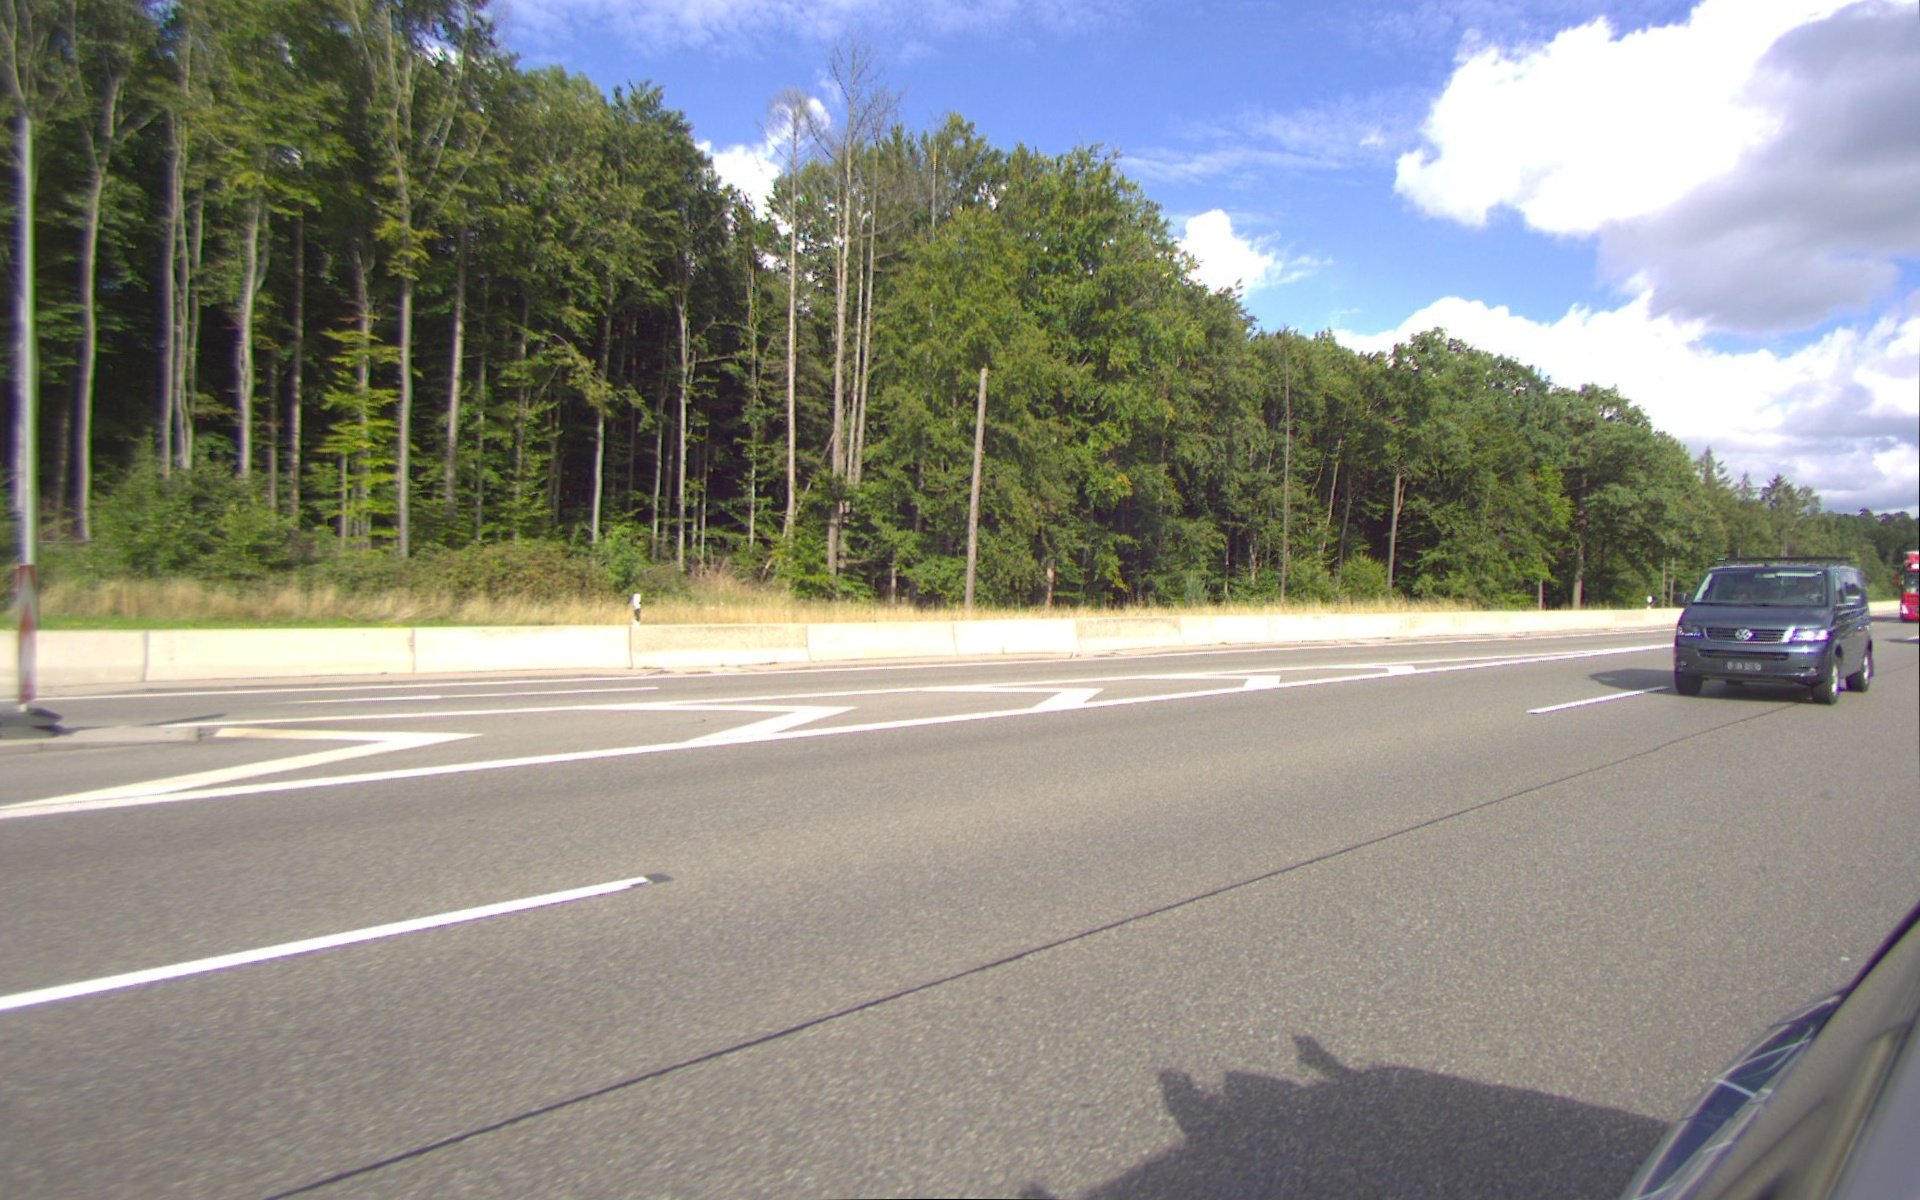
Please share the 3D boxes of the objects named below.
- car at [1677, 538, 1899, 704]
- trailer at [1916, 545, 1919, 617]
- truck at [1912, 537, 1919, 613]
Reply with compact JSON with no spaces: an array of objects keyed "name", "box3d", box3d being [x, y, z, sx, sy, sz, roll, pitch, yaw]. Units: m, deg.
[{"name":"car","box3d":[12.958,0.227,15.719,4.876,2.192,1.925,-1,2,-42]},{"name":"trailer","box3d":[61.660,-1.256,62.484,14.130,4.170,2.529,-2,2,-41]},{"name":"truck","box3d":[56.752,-1.458,58.127,4.573,4.254,2.530,-2,2,-41]}]
